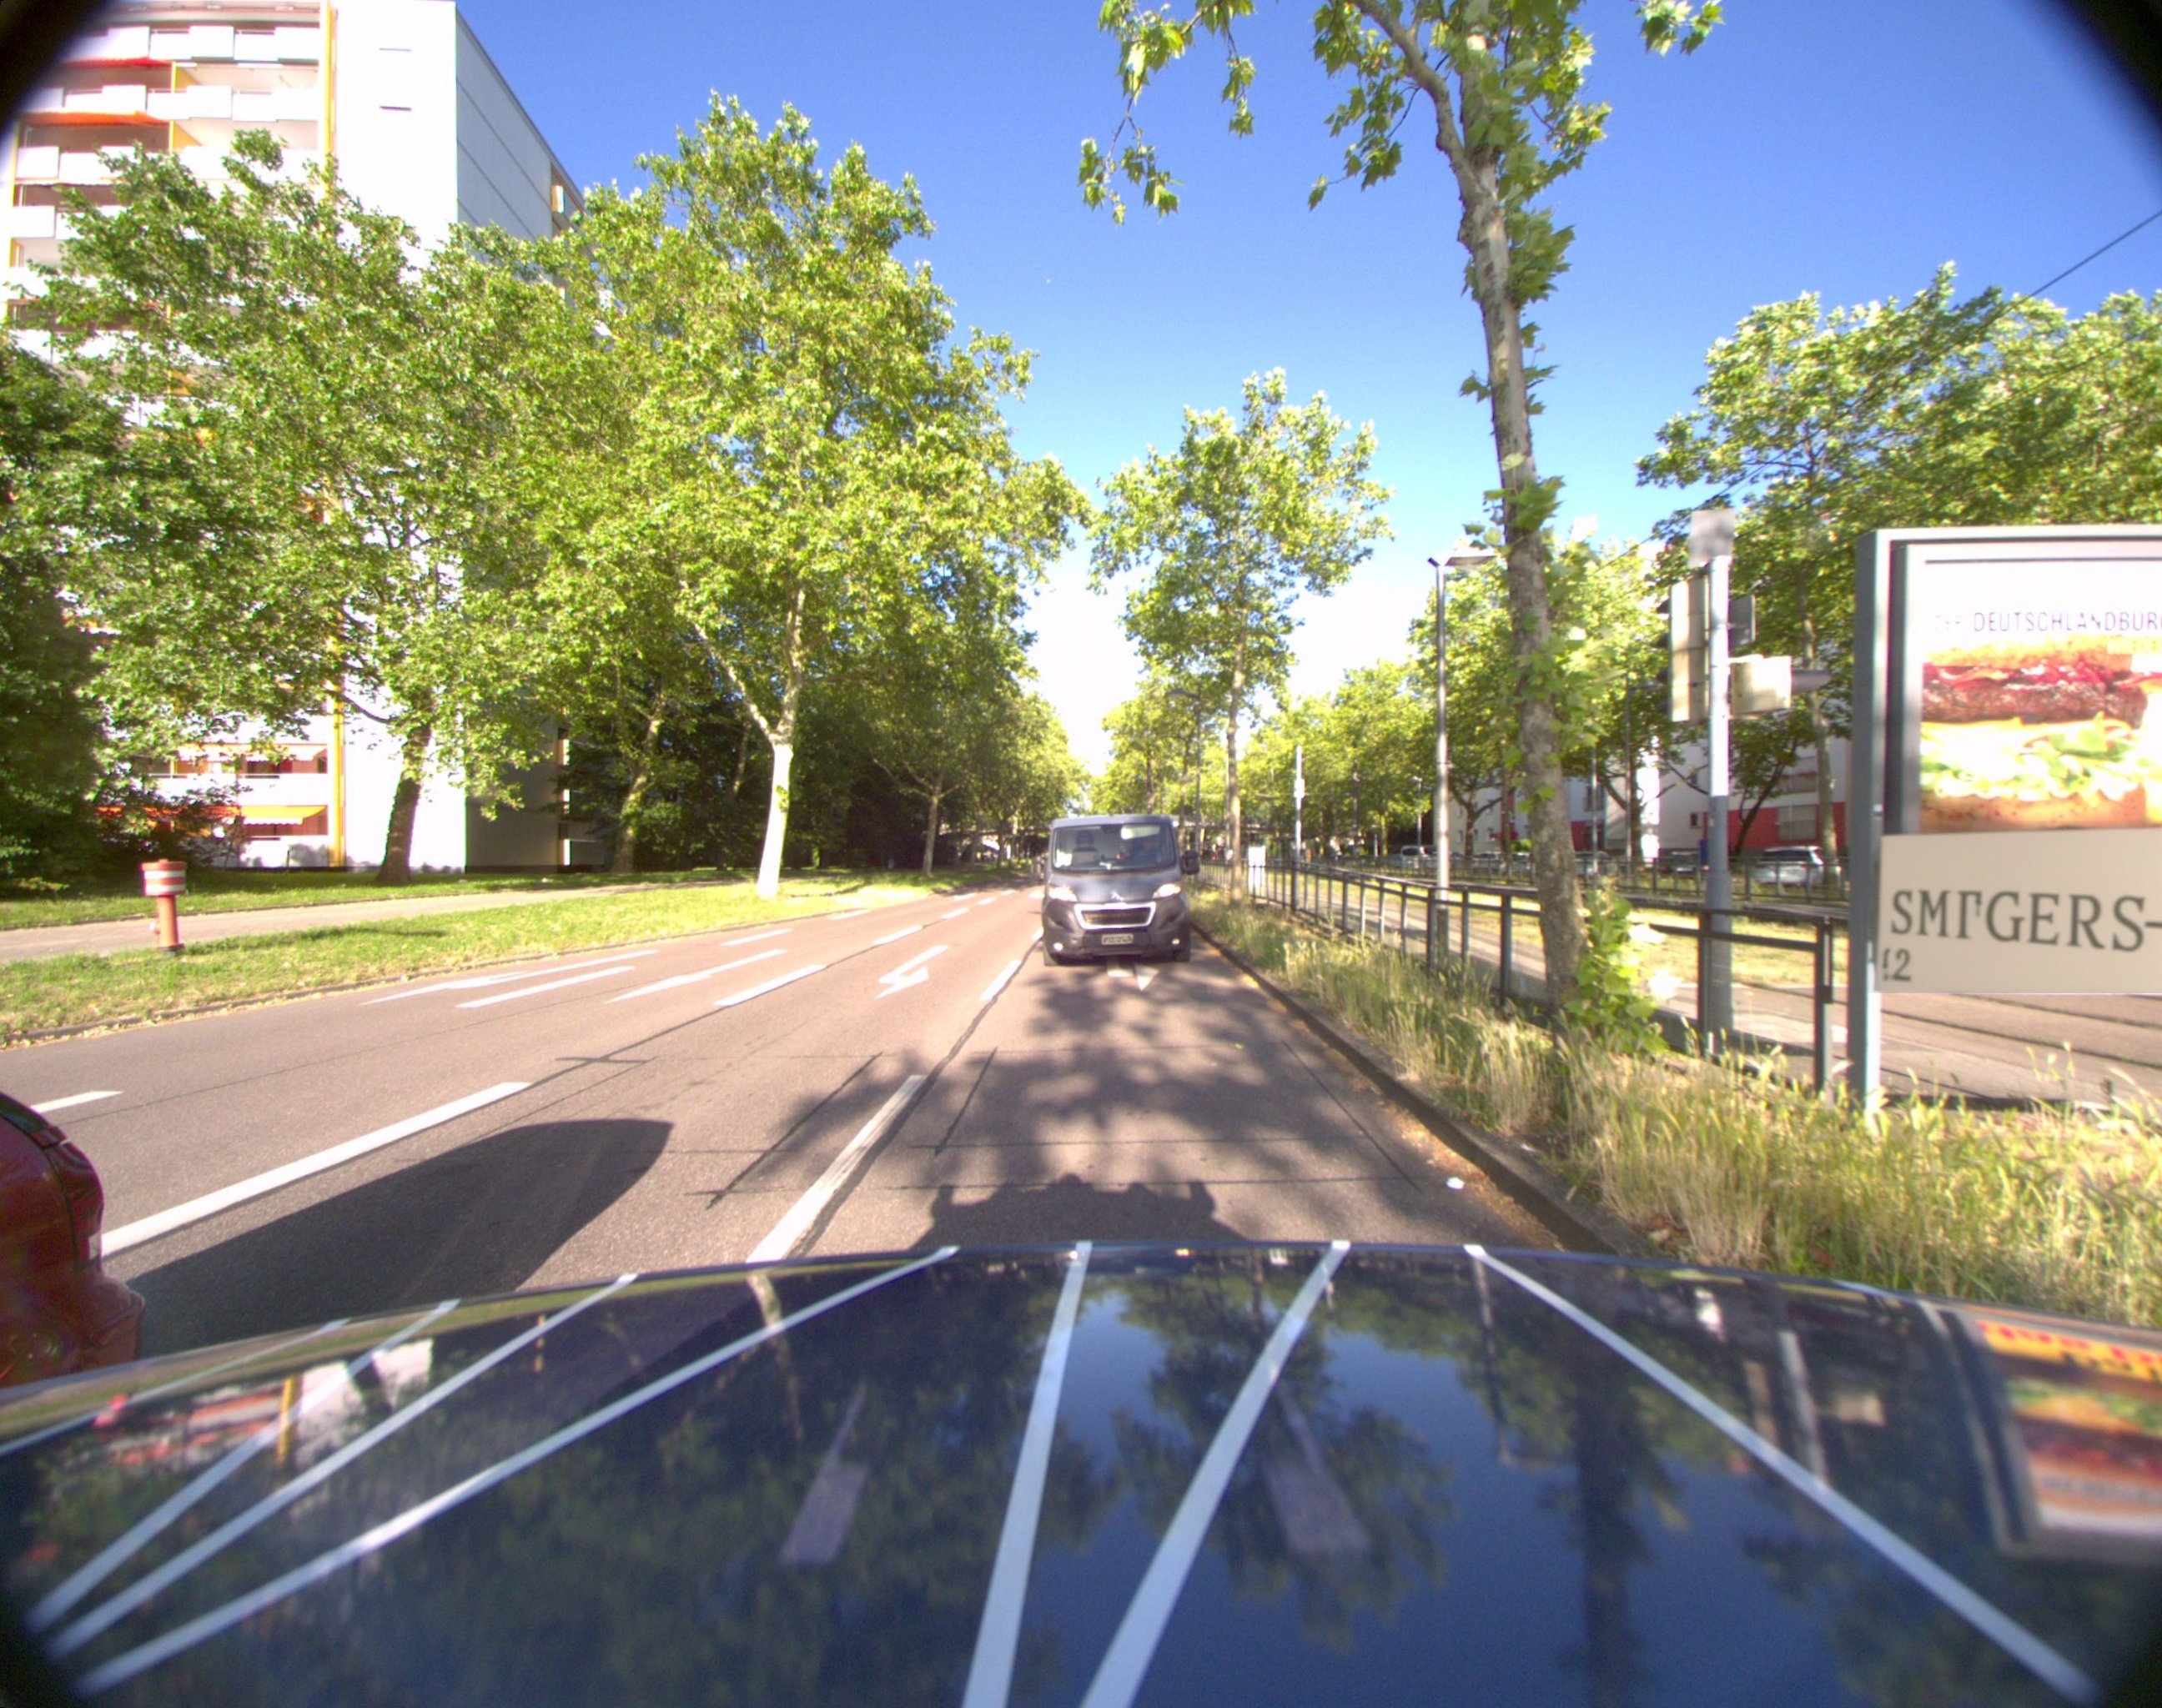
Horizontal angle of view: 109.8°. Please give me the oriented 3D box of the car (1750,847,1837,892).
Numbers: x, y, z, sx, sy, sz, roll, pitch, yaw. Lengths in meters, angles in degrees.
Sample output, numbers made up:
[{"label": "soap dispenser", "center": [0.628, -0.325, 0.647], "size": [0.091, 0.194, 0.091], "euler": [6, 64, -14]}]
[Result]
[{"label": "car", "center": [25.050, 0.498, 26.671], "size": [3.689, 1.425, 1.683], "euler": [-1, 1, -38]}]

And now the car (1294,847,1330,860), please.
[{"label": "car", "center": [27.193, -0.054, 89.414], "size": [4.376, 1.367, 1.919], "euler": [-1, 1, -39]}]

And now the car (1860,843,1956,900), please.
[{"label": "car", "center": [25.012, 0.465, 22.946], "size": [3.689, 1.558, 1.683], "euler": [-1, 1, -38]}]

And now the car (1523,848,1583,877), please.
[{"label": "car", "center": [25.804, 0.433, 41.504], "size": [3.689, 1.440, 1.645], "euler": [-1, 1, -39]}]

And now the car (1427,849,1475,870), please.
[{"label": "car", "center": [26.238, 0.352, 53.884], "size": [3.689, 1.388, 1.645], "euler": [-1, 1, -39]}]

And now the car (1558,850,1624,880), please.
[{"label": "car", "center": [25.323, 0.505, 37.676], "size": [3.689, 1.384, 1.645], "euler": [-1, 1, -38]}]

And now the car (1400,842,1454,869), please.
[{"label": "car", "center": [25.953, 0.090, 56.978], "size": [4.376, 1.873, 1.919], "euler": [-1, 1, -39]}]

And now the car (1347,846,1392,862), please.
[{"label": "car", "center": [26.689, 0.019, 70.250], "size": [4.376, 1.367, 1.919], "euler": [-1, 1, -39]}]

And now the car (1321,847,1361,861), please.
[{"label": "car", "center": [27.234, 0.029, 79.560], "size": [4.376, 1.367, 1.919], "euler": [-1, 1, -39]}]

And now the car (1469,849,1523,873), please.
[{"label": "car", "center": [25.950, 0.419, 47.481], "size": [3.689, 1.440, 1.645], "euler": [-1, 1, -39]}]

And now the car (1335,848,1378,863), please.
[{"label": "car", "center": [26.580, 0.104, 73.264], "size": [4.376, 1.367, 1.919], "euler": [-1, 1, -39]}]

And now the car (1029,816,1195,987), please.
[{"label": "car", "center": [0.428, 0.585, 12.119], "size": [2.040, 2.102, 5.113], "euler": [-1, 0, 1]}]

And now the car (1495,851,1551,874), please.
[{"label": "car", "center": [26.193, 0.486, 44.946], "size": [3.689, 1.234, 1.645], "euler": [-1, 1, -39]}]

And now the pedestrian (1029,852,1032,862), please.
[{"label": "pedestrian", "center": [-7.113, 0.407, 106.434], "size": [0.417, 1.454, 0.398], "euler": [-1, 1, -5]}]

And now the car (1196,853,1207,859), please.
[{"label": "car", "center": [25.883, 0.413, 163.328], "size": [1.672, 1.351, 3.295], "euler": [-1, 0, 1]}]
